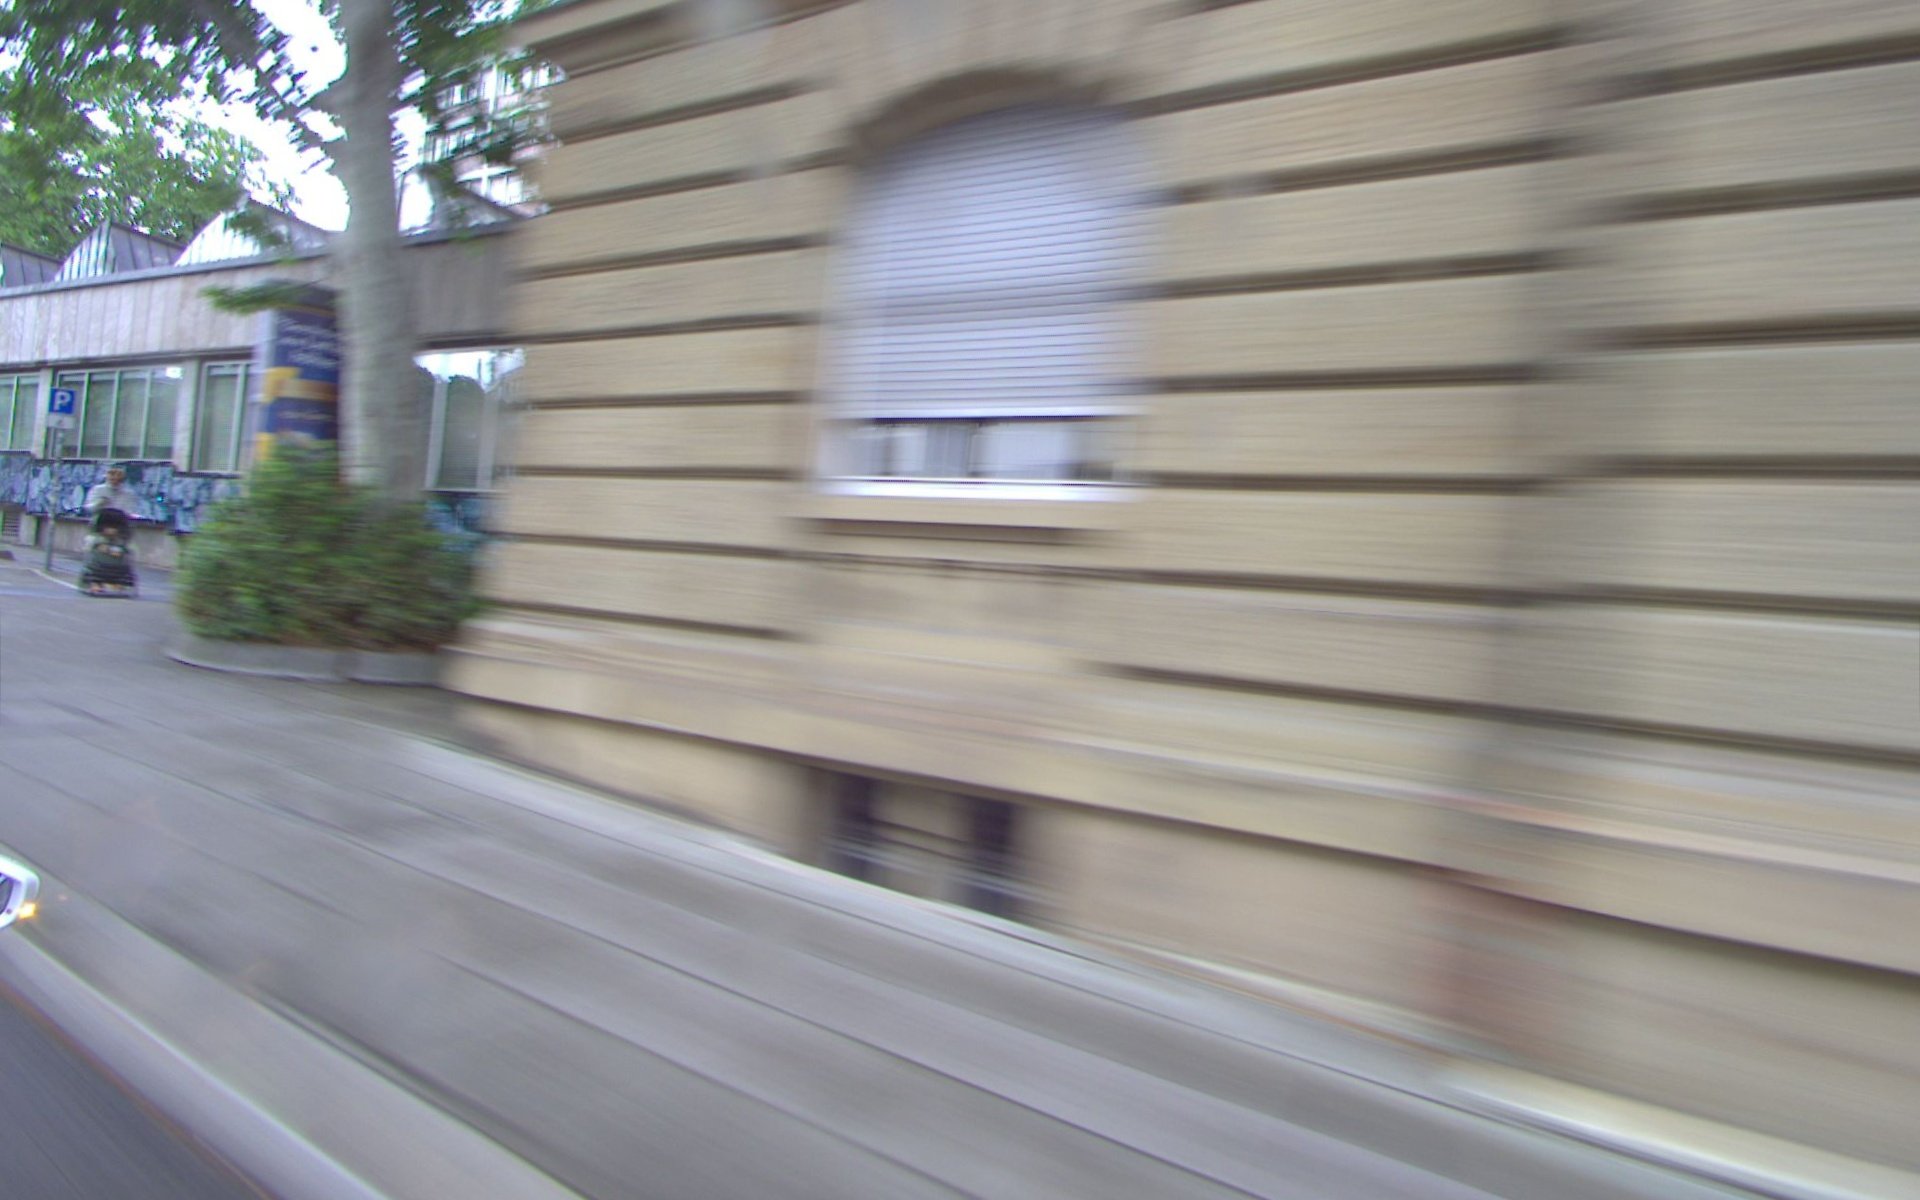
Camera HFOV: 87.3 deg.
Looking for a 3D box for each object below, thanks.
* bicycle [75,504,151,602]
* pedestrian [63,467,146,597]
[{"bbox_3d":[-11.701,-0.653,13.897,0.898,1.236,0.617,8,2,42],"label":"bicycle"},{"bbox_3d":[-12.382,-0.986,14.563,1.004,1.765,0.716,8,4,41],"label":"pedestrian"}]
